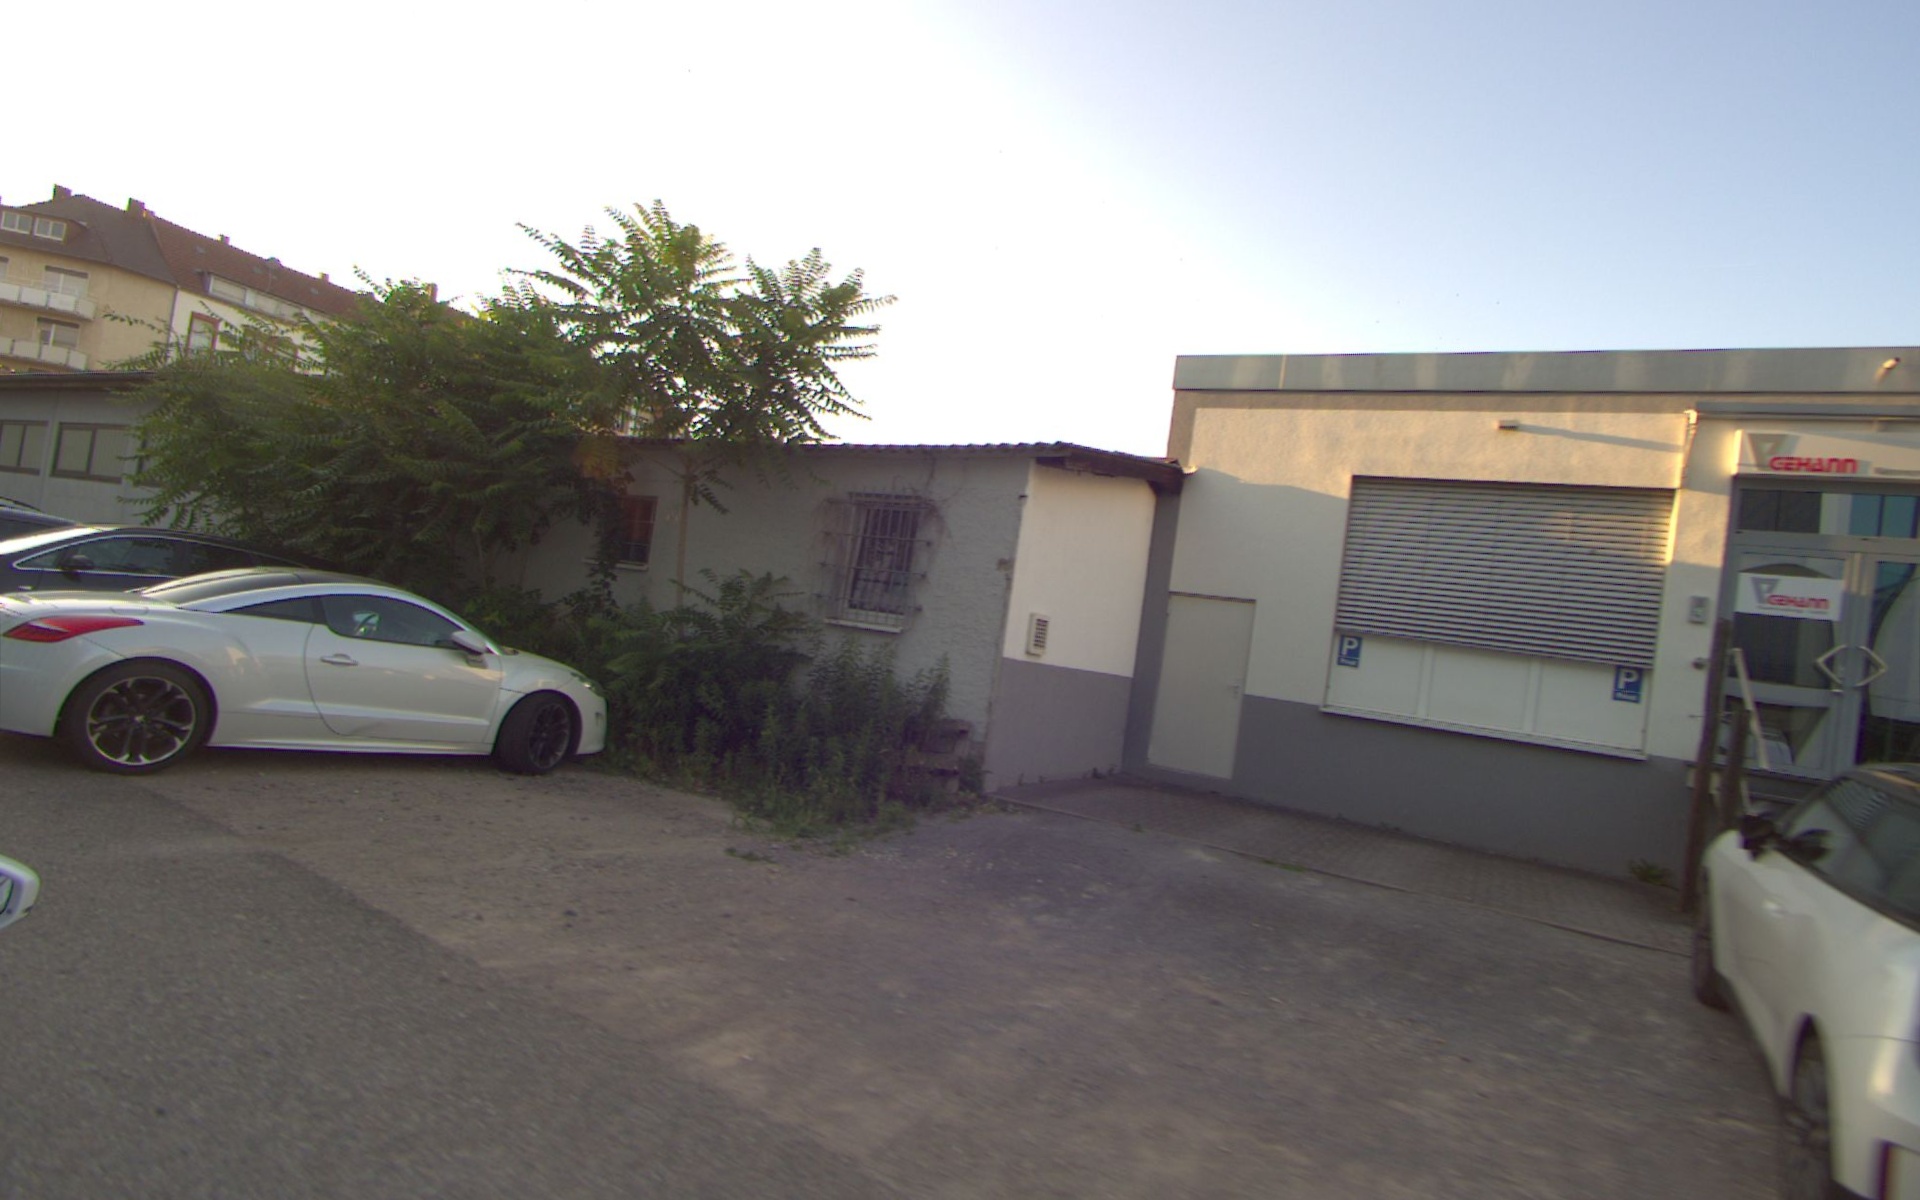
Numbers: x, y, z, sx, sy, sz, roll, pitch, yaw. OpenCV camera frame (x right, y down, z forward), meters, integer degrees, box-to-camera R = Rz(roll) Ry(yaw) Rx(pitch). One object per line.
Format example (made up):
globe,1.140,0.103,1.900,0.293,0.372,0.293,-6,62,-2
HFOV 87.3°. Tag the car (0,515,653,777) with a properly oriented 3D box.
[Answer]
car,-4.686,0.462,7.548,1.795,1.381,4.210,7,-4,36

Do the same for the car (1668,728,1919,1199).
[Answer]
car,3.919,1.380,3.727,1.683,1.496,3.712,7,-2,31

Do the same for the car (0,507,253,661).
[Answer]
car,-10.919,-0.286,11.639,1.798,1.460,3.994,5,-5,33

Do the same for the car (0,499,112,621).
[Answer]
car,-15.204,-0.848,14.524,1.907,1.626,3.996,7,-4,31

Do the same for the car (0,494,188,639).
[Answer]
car,-13.020,-0.608,13.253,1.796,1.636,3.998,7,-4,29

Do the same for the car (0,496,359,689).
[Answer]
car,-8.863,-0.107,10.224,1.860,1.518,4.212,5,-5,34
